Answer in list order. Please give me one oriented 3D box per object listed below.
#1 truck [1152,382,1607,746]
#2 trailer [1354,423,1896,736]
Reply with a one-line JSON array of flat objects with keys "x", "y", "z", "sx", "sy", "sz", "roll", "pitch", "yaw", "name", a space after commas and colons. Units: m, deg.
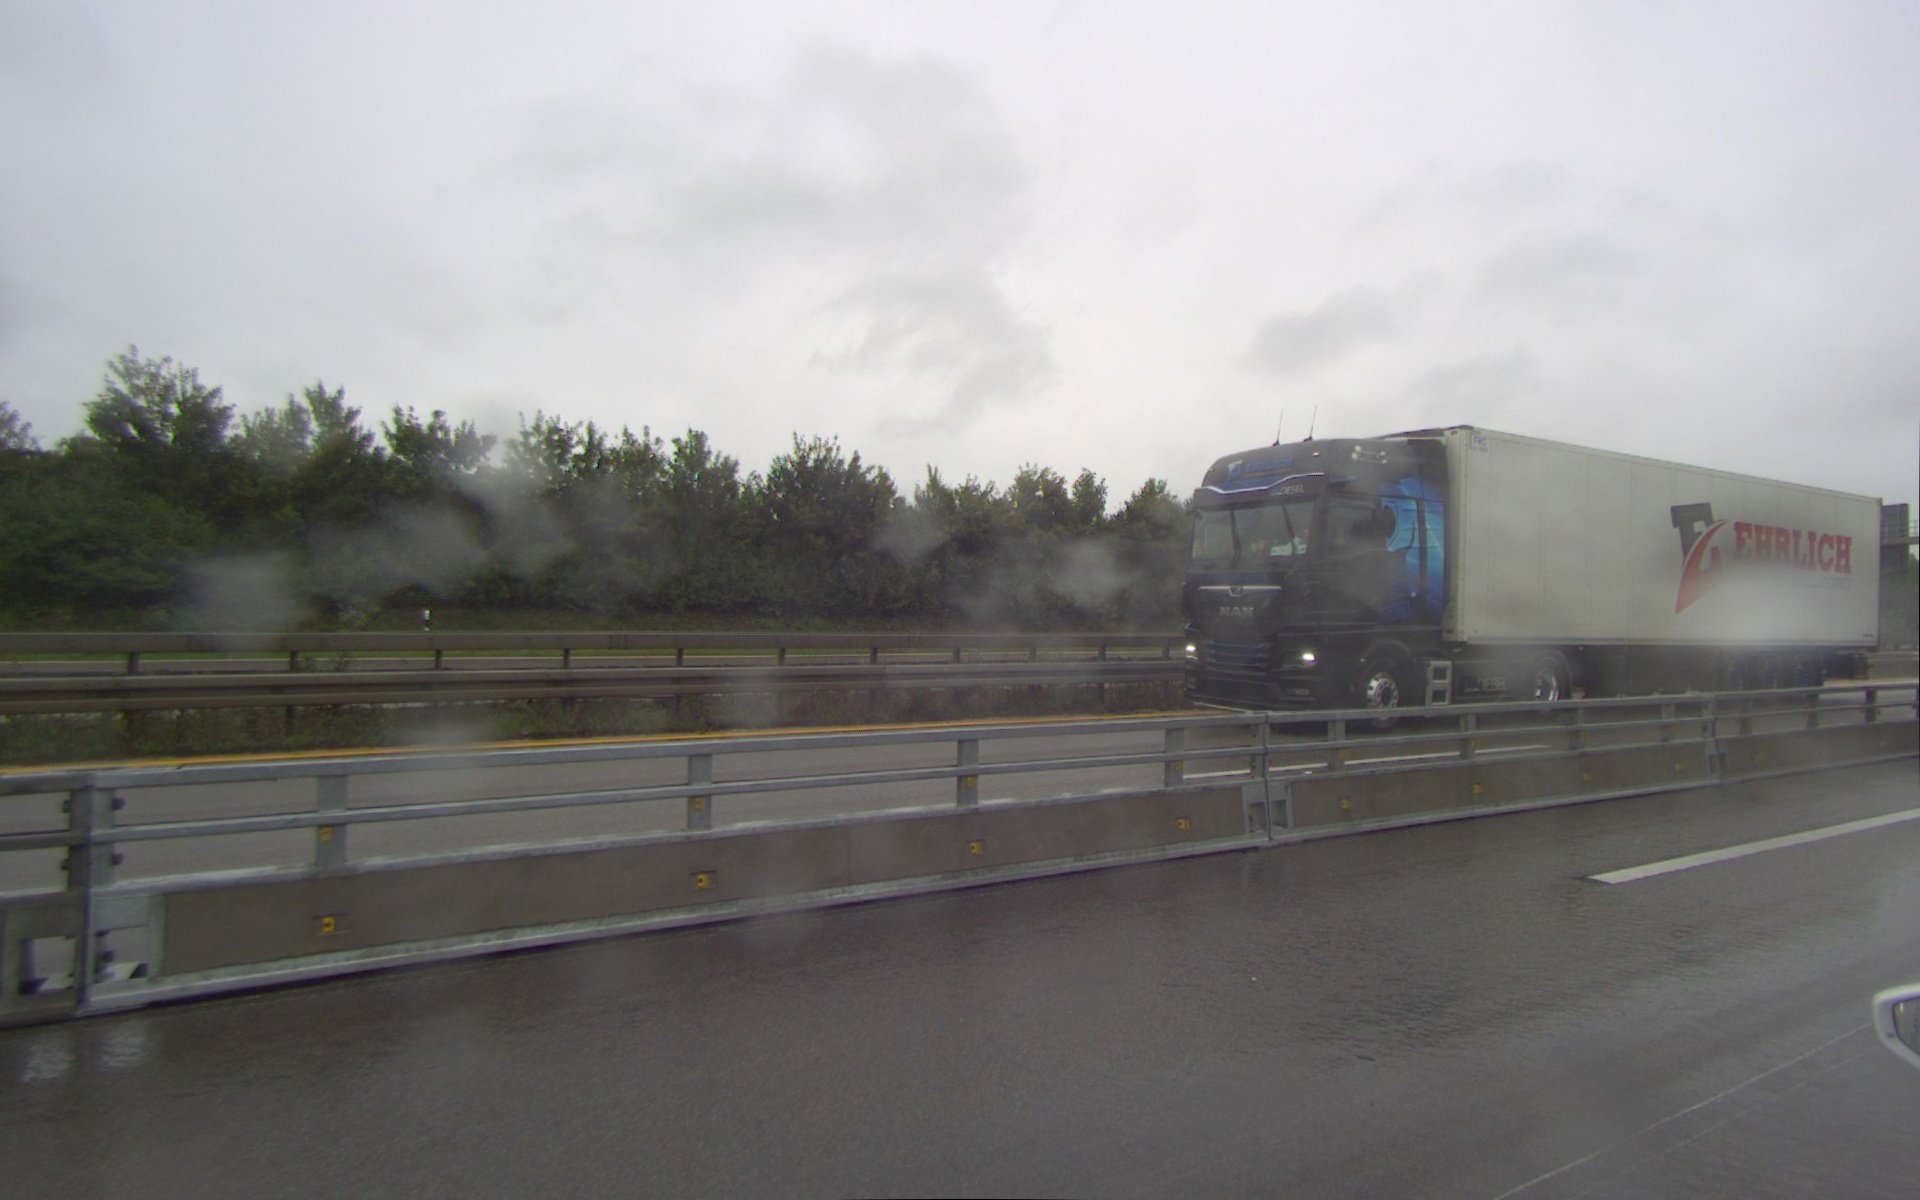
[{"x": 6.191, "y": -0.315, "z": 14.641, "sx": 6.250, "sy": 4.287, "sz": 2.876, "roll": 2, "pitch": -1, "yaw": -29, "name": "truck"}, {"x": 12.689, "y": -0.070, "z": 18.374, "sx": 12.742, "sy": 4.343, "sz": 2.879, "roll": 2, "pitch": -1, "yaw": -30, "name": "trailer"}]
